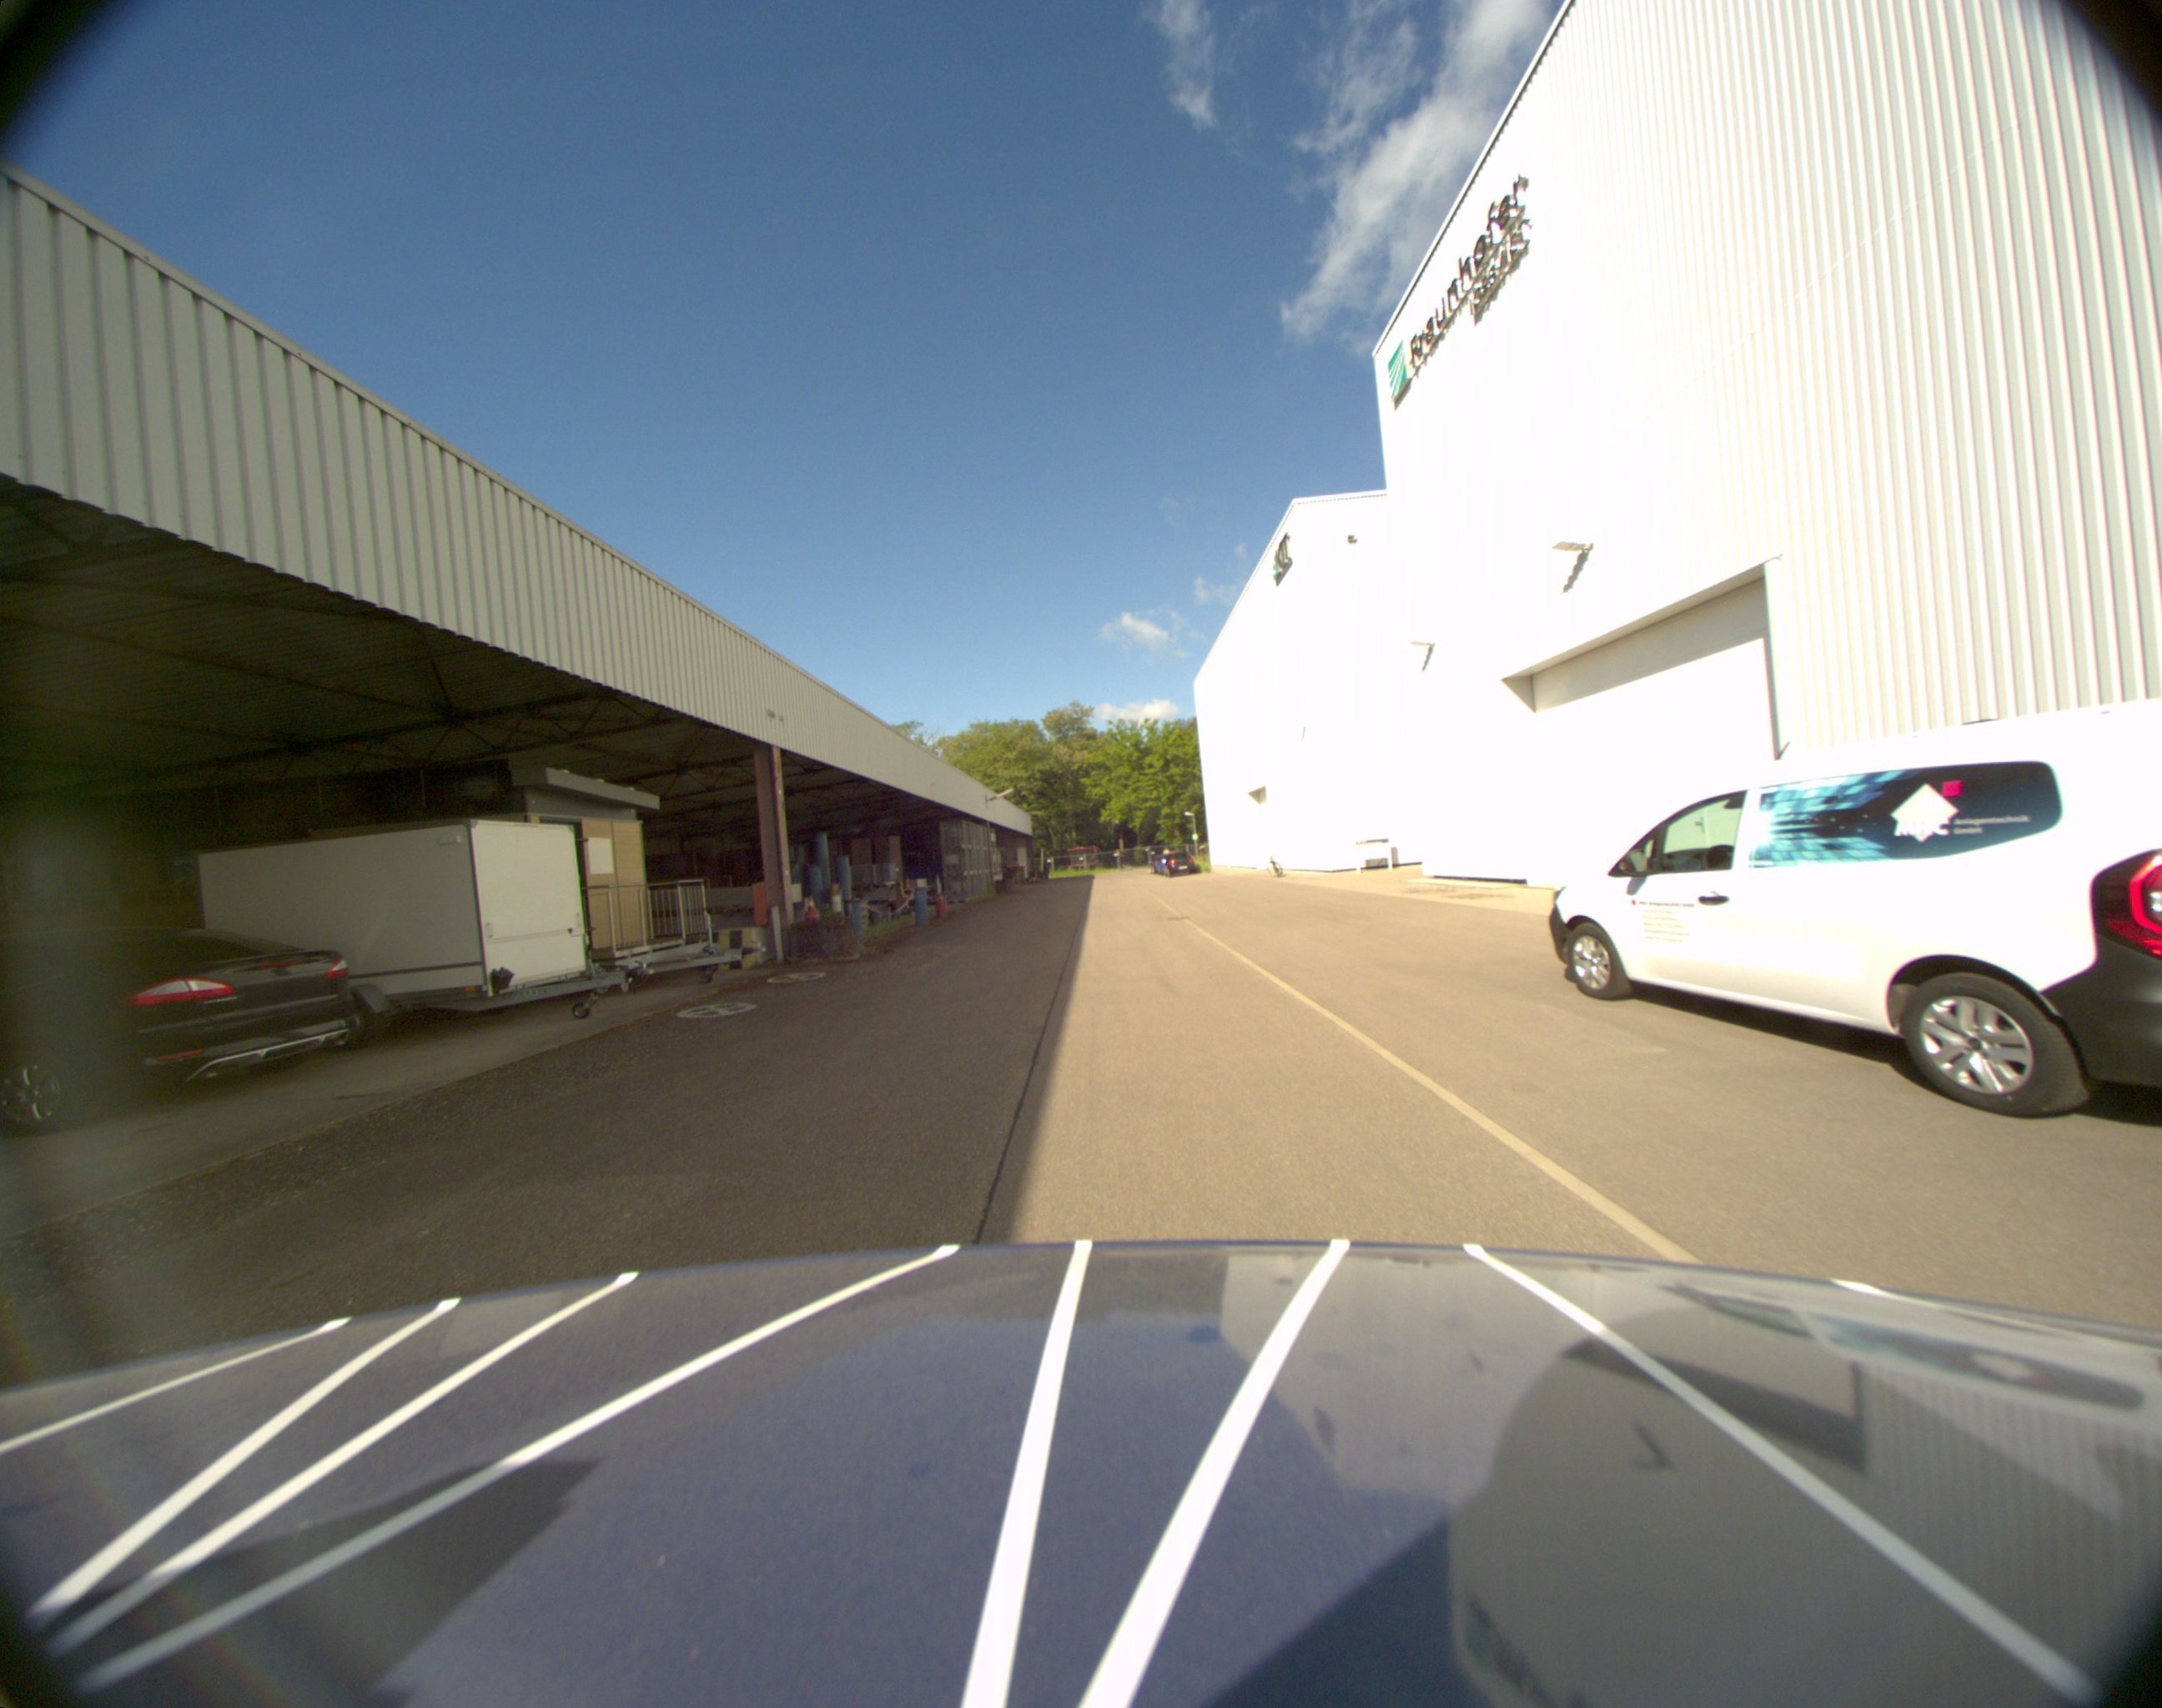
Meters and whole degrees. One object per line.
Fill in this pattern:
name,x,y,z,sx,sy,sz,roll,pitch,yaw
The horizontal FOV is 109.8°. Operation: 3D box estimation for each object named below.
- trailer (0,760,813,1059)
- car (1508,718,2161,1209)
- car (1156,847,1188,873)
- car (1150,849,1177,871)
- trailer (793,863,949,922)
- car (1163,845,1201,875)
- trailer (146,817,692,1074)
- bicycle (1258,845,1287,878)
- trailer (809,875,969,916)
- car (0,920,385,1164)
trailer,-9.669,0.760,11.399,10.062,3.197,2.854,-4,0,1
car,4.934,0.307,4.774,1.895,1.835,4.358,-7,0,1
car,6.248,0.394,52.691,1.789,1.513,4.001,-8,0,3
car,6.269,0.440,58.194,1.789,1.431,4.001,-4,0,3
trailer,-7.403,1.343,27.110,4.879,1.619,2.029,-4,0,0
car,6.258,0.362,47.438,1.895,1.513,4.001,-8,0,3
trailer,-7.440,0.990,8.813,4.823,2.377,1.827,-4,0,6
bicycle,7.950,0.295,31.477,0.909,1.136,1.901,-8,0,17
trailer,-7.591,1.628,30.464,5.837,1.113,2.029,-4,0,0
car,-8.749,1.526,6.202,4.340,1.487,1.777,-4,0,-1
